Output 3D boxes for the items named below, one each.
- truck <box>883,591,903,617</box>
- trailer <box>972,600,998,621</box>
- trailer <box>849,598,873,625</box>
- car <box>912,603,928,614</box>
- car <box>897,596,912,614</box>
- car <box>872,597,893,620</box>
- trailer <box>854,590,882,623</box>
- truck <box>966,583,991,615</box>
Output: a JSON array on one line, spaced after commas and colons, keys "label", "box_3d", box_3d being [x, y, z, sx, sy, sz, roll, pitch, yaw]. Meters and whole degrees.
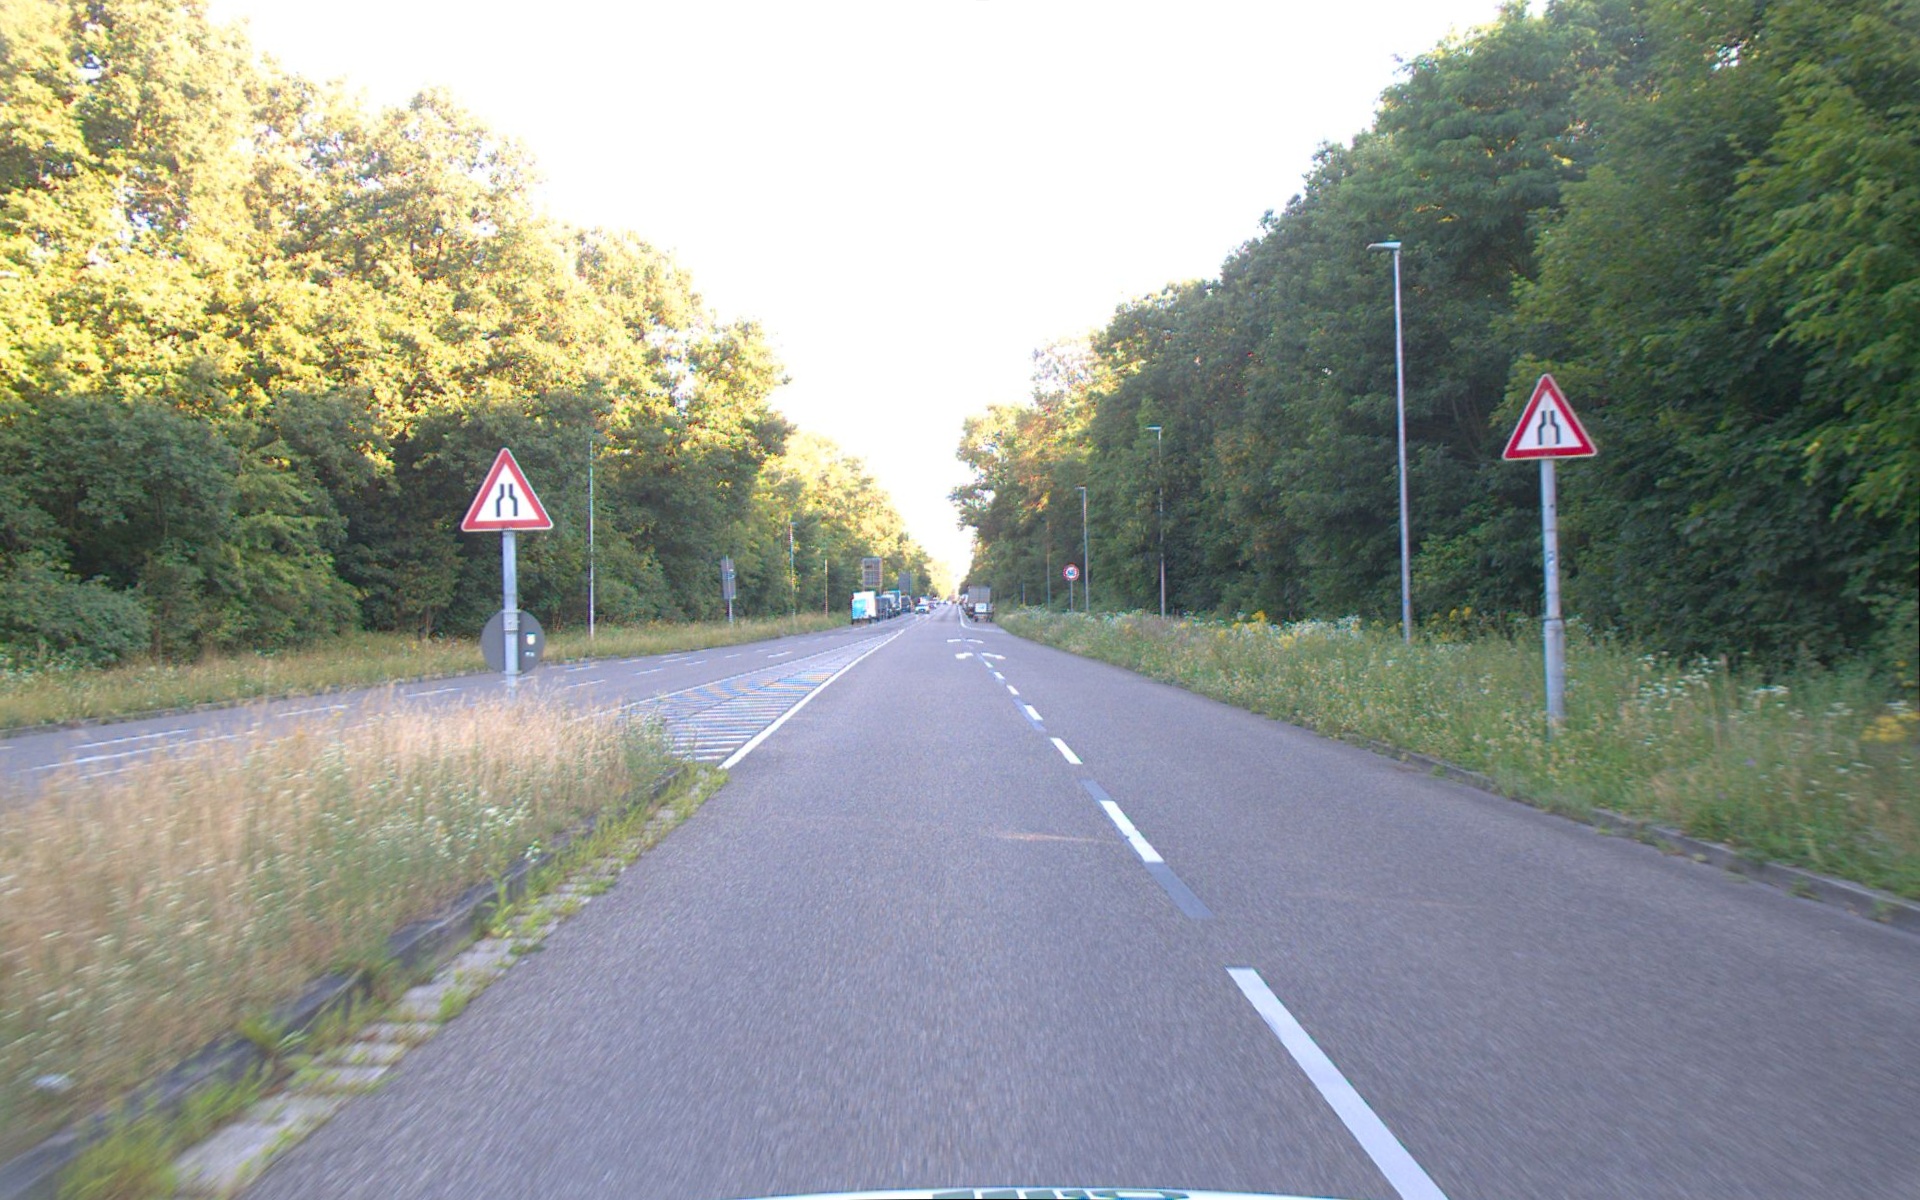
[{"label": "truck", "box_3d": [-9.115, 0.551, 225.956, 2.453, 3.387, 6.841, -2, 0, 0]}, {"label": "trailer", "box_3d": [2.144, 0.871, 141.845, 1.425, 1.691, 3.780, -2, 0, 13]}, {"label": "trailer", "box_3d": [-8.490, 0.944, 141.915, 1.780, 2.205, 4.142, -2, 0, -1]}, {"label": "car", "box_3d": [-5.584, 1.184, 230.902, 2.021, 1.460, 4.466, -4, 0, 1]}, {"label": "car", "box_3d": [-8.699, 0.792, 260.603, 2.142, 2.837, 5.333, -2, 0, 0]}, {"label": "car", "box_3d": [-8.538, 0.933, 183.607, 1.953, 2.405, 5.765, -3, 0, 0]}, {"label": "trailer", "box_3d": [-8.764, 0.637, 157.526, 2.279, 2.975, 5.626, -3, 0, -1]}, {"label": "truck", "box_3d": [1.939, -0.067, 174.186, 2.535, 3.312, 7.221, 0, 0, 1]}]
